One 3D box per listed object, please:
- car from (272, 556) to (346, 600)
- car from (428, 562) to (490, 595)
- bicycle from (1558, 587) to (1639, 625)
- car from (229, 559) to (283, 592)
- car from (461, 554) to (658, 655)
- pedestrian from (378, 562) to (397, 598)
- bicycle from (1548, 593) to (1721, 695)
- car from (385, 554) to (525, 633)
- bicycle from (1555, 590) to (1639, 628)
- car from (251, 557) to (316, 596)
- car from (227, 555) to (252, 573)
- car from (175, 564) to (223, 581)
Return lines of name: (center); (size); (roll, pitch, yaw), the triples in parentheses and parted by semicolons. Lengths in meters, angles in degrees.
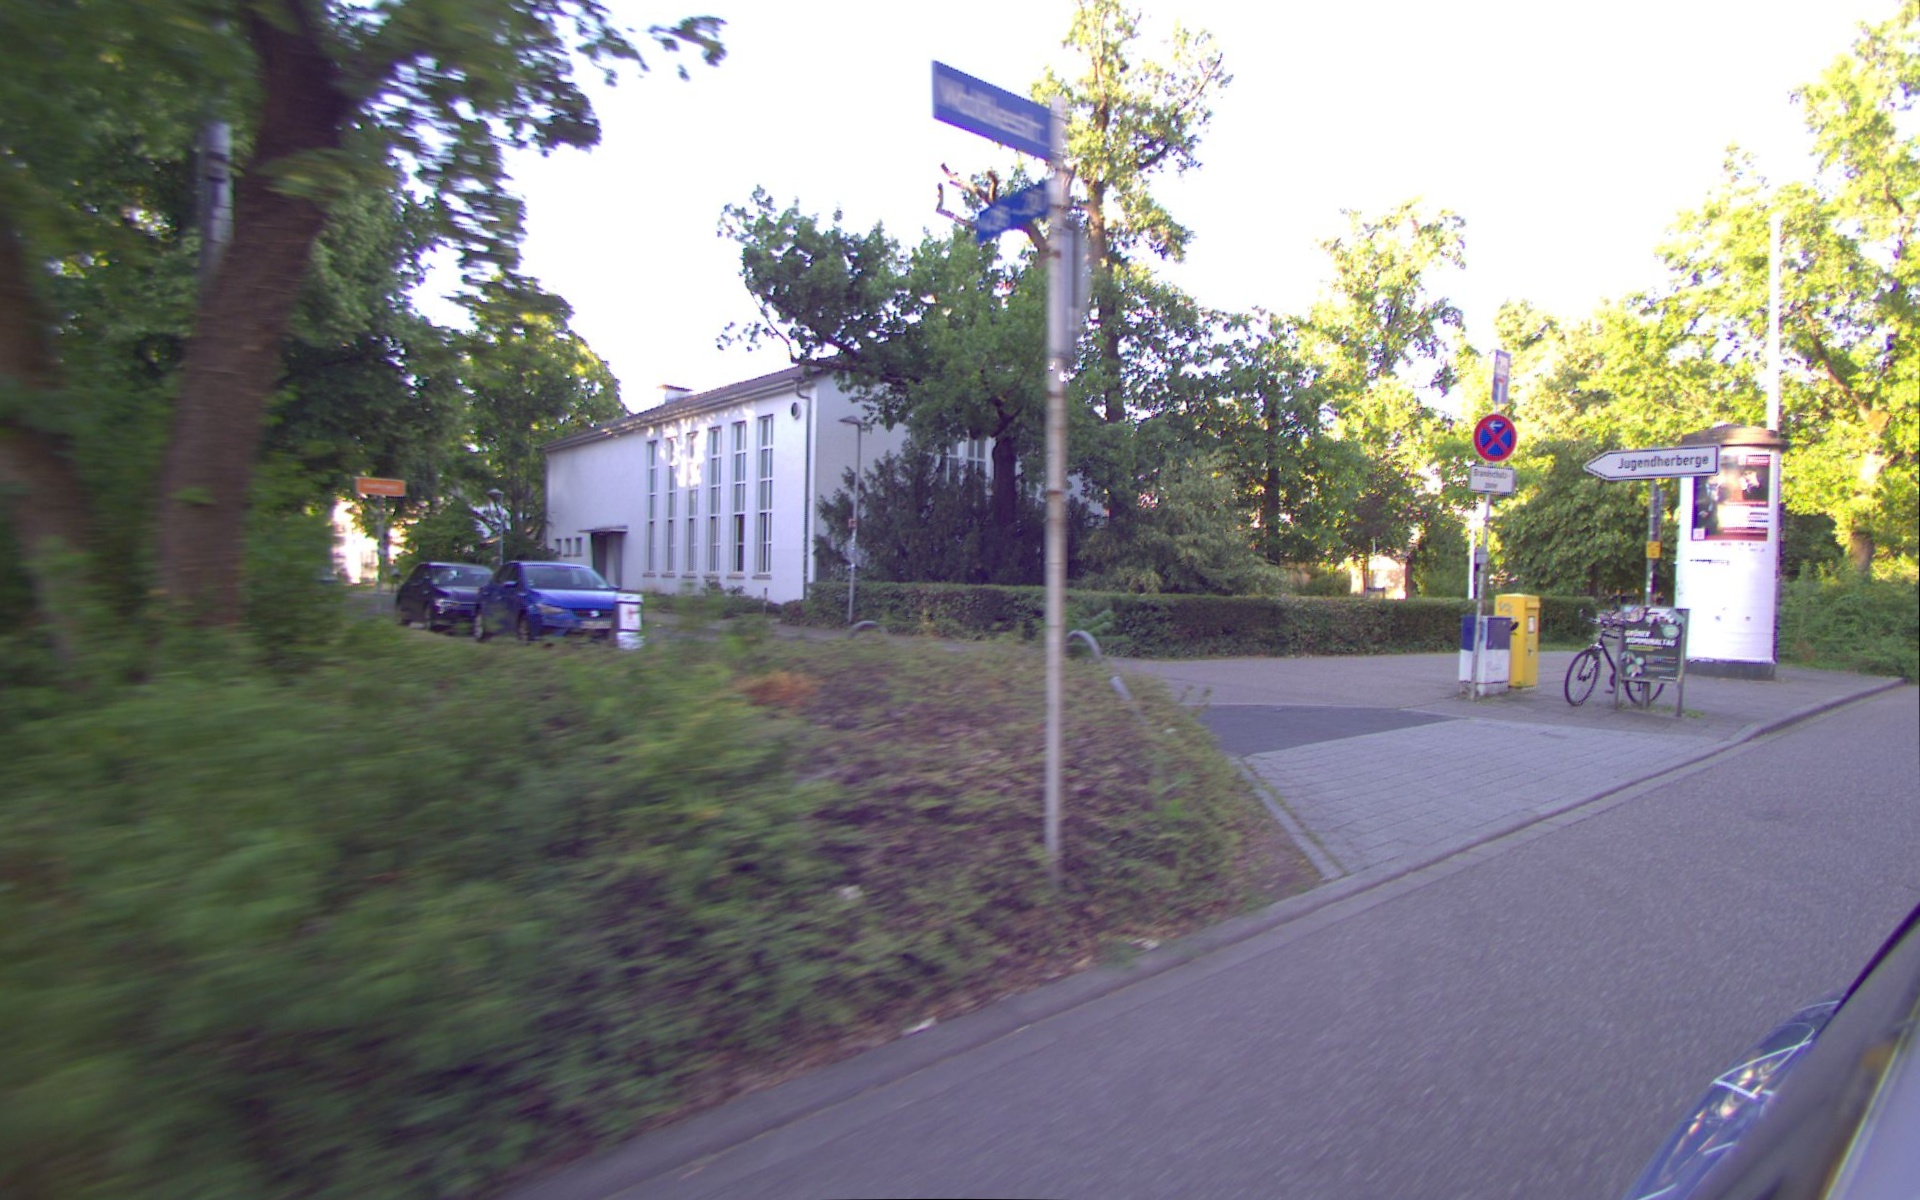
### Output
car: (-23.432, -0.794, 36.344); (1.706, 1.495, 3.995); (0, 2, -41)
car: (-25.284, -1.093, 51.026); (1.965, 1.627, 3.766); (0, 1, -41)
bicycle: (23.219, 0.206, 36.839); (2.433, 1.314, 0.742); (2, 1, 33)
car: (-33.160, -1.177, 47.649); (1.706, 1.495, 3.995); (0, 2, -41)
car: (-6.759, 0.006, 16.833); (1.803, 1.460, 4.147); (0, 2, -41)
pedestrian: (-29.746, -1.043, 52.588); (0.709, 1.860, 0.739); (0, 1, -43)
bicycle: (8.303, 0.555, 12.439); (2.237, 1.162, 0.495); (2, 3, -21)
car: (-10.626, -0.184, 21.167); (1.706, 1.495, 3.995); (0, 2, -41)
bicycle: (22.166, 0.309, 35.274); (2.433, 1.236, 0.742); (2, 1, 33)
car: (-27.250, -0.955, 40.708); (1.706, 1.495, 3.995); (0, 2, -41)
car: (-87.406, -4.364, 122.716); (1.966, 2.039, 3.992); (0, 1, -43)
car: (-79.451, -2.887, 105.687); (3.930, 1.682, 1.997); (0, 1, -41)
